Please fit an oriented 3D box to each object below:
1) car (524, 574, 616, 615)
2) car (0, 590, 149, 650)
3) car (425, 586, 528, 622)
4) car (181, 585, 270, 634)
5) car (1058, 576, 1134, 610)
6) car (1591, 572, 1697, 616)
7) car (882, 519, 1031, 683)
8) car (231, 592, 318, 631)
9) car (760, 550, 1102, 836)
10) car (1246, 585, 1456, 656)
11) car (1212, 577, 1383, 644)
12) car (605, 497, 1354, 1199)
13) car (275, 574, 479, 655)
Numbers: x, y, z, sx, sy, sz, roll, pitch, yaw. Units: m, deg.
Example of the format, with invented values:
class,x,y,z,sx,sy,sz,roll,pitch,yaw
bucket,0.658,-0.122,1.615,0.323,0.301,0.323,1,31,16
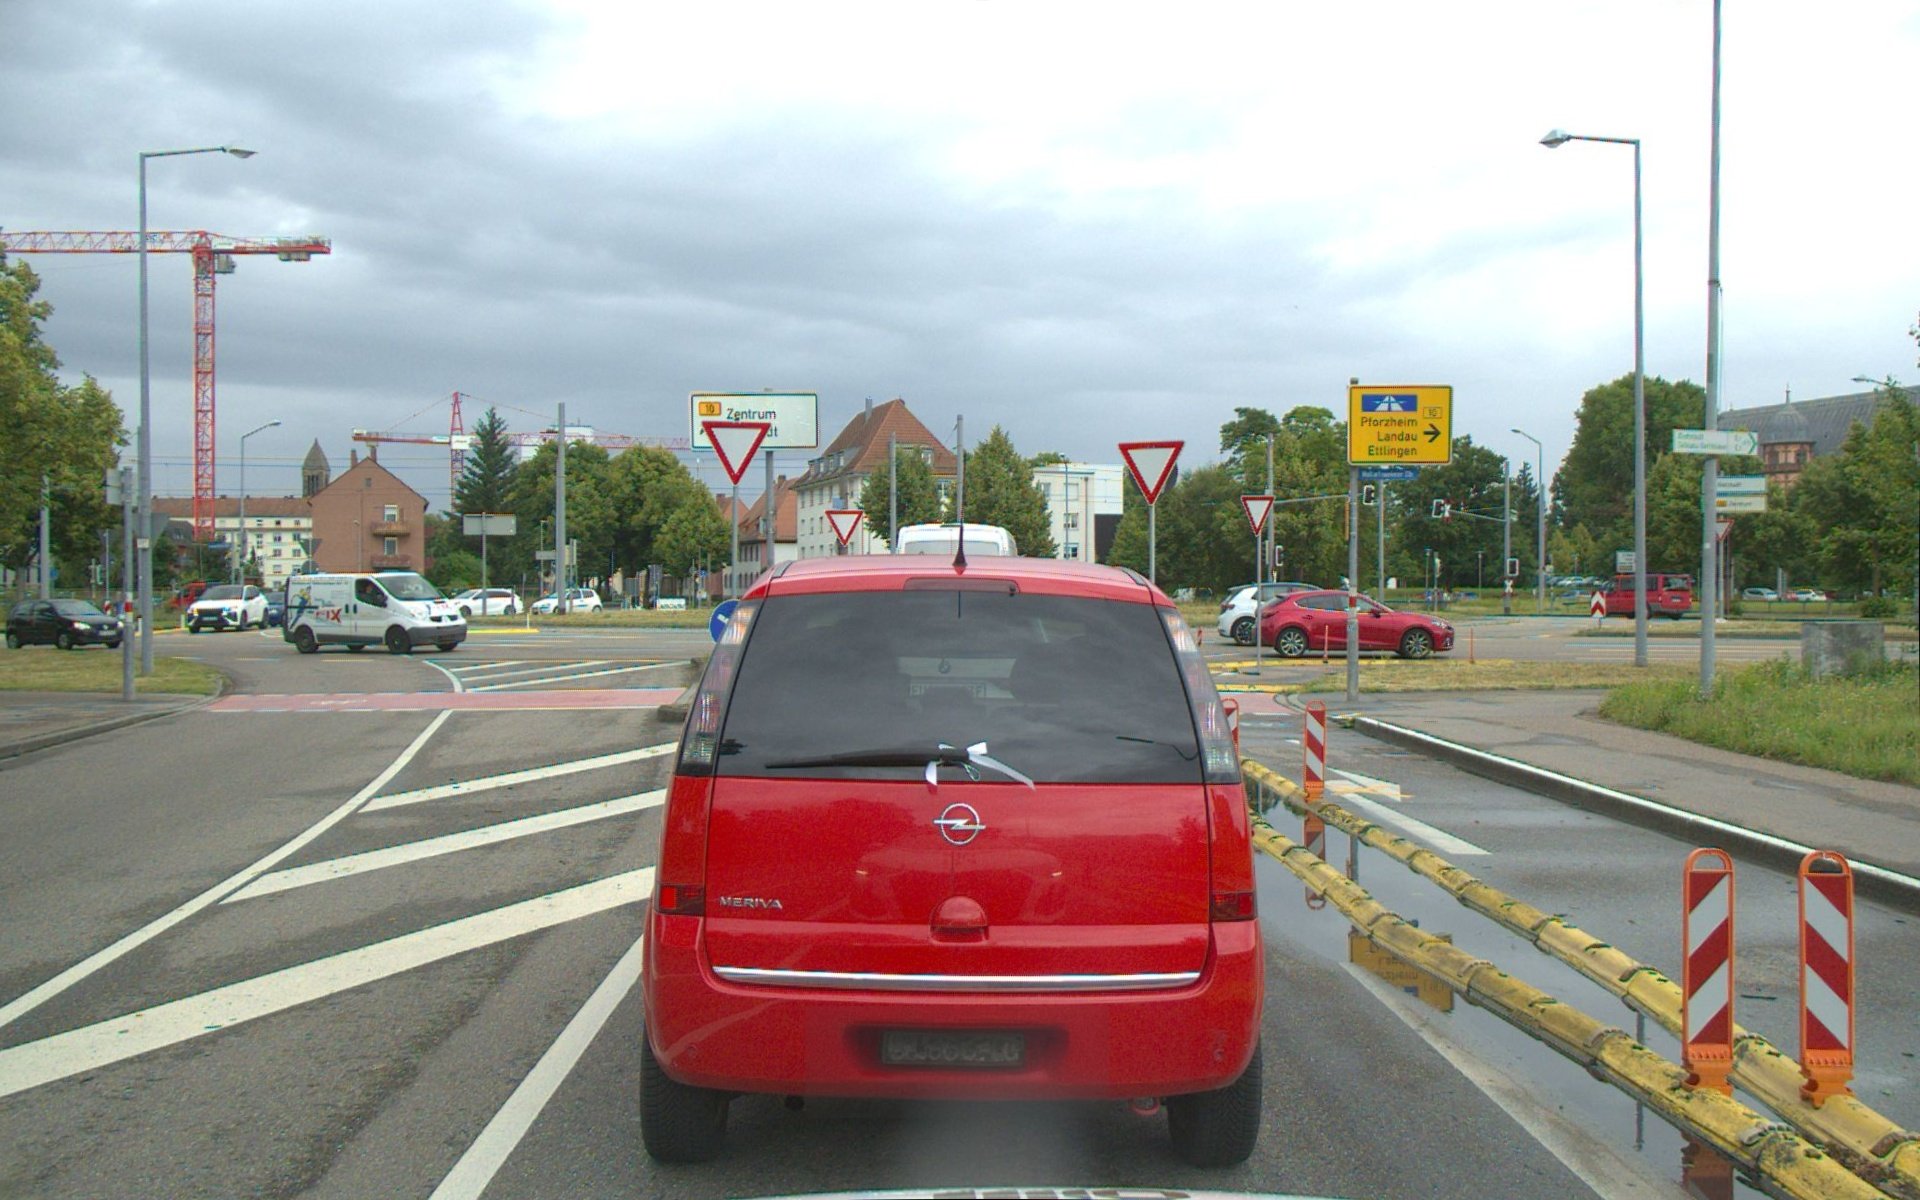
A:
class,x,y,z,sx,sy,sz,roll,pitch,yaw
car,-19.999,-0.273,84.931,1.959,2.049,4.466,0,0,34
car,-25.776,0.558,47.979,4.347,1.630,2.093,0,0,33
car,-23.414,0.159,80.243,1.959,1.663,4.659,0,0,35
car,-26.819,0.318,60.533,1.895,1.713,4.181,-1,0,-8
car,8.388,-0.457,101.988,4.368,2.049,2.002,0,0,15
car,31.588,-0.306,76.530,2.073,1.951,4.872,-1,0,-14
car,0.048,-0.001,28.936,2.149,2.584,4.965,1,0,5
car,-27.792,0.436,67.194,1.891,1.515,4.000,-1,0,-1
car,-0.207,0.539,12.174,2.018,1.676,4.606,1,0,-1
car,8.551,0.432,36.455,4.251,1.489,2.001,-1,0,5
car,8.069,0.249,39.863,3.902,1.534,2.002,0,0,7
car,0.019,0.607,5.478,1.639,1.669,3.626,1,0,-1
car,-14.594,0.356,41.408,4.737,1.933,2.097,0,0,26
